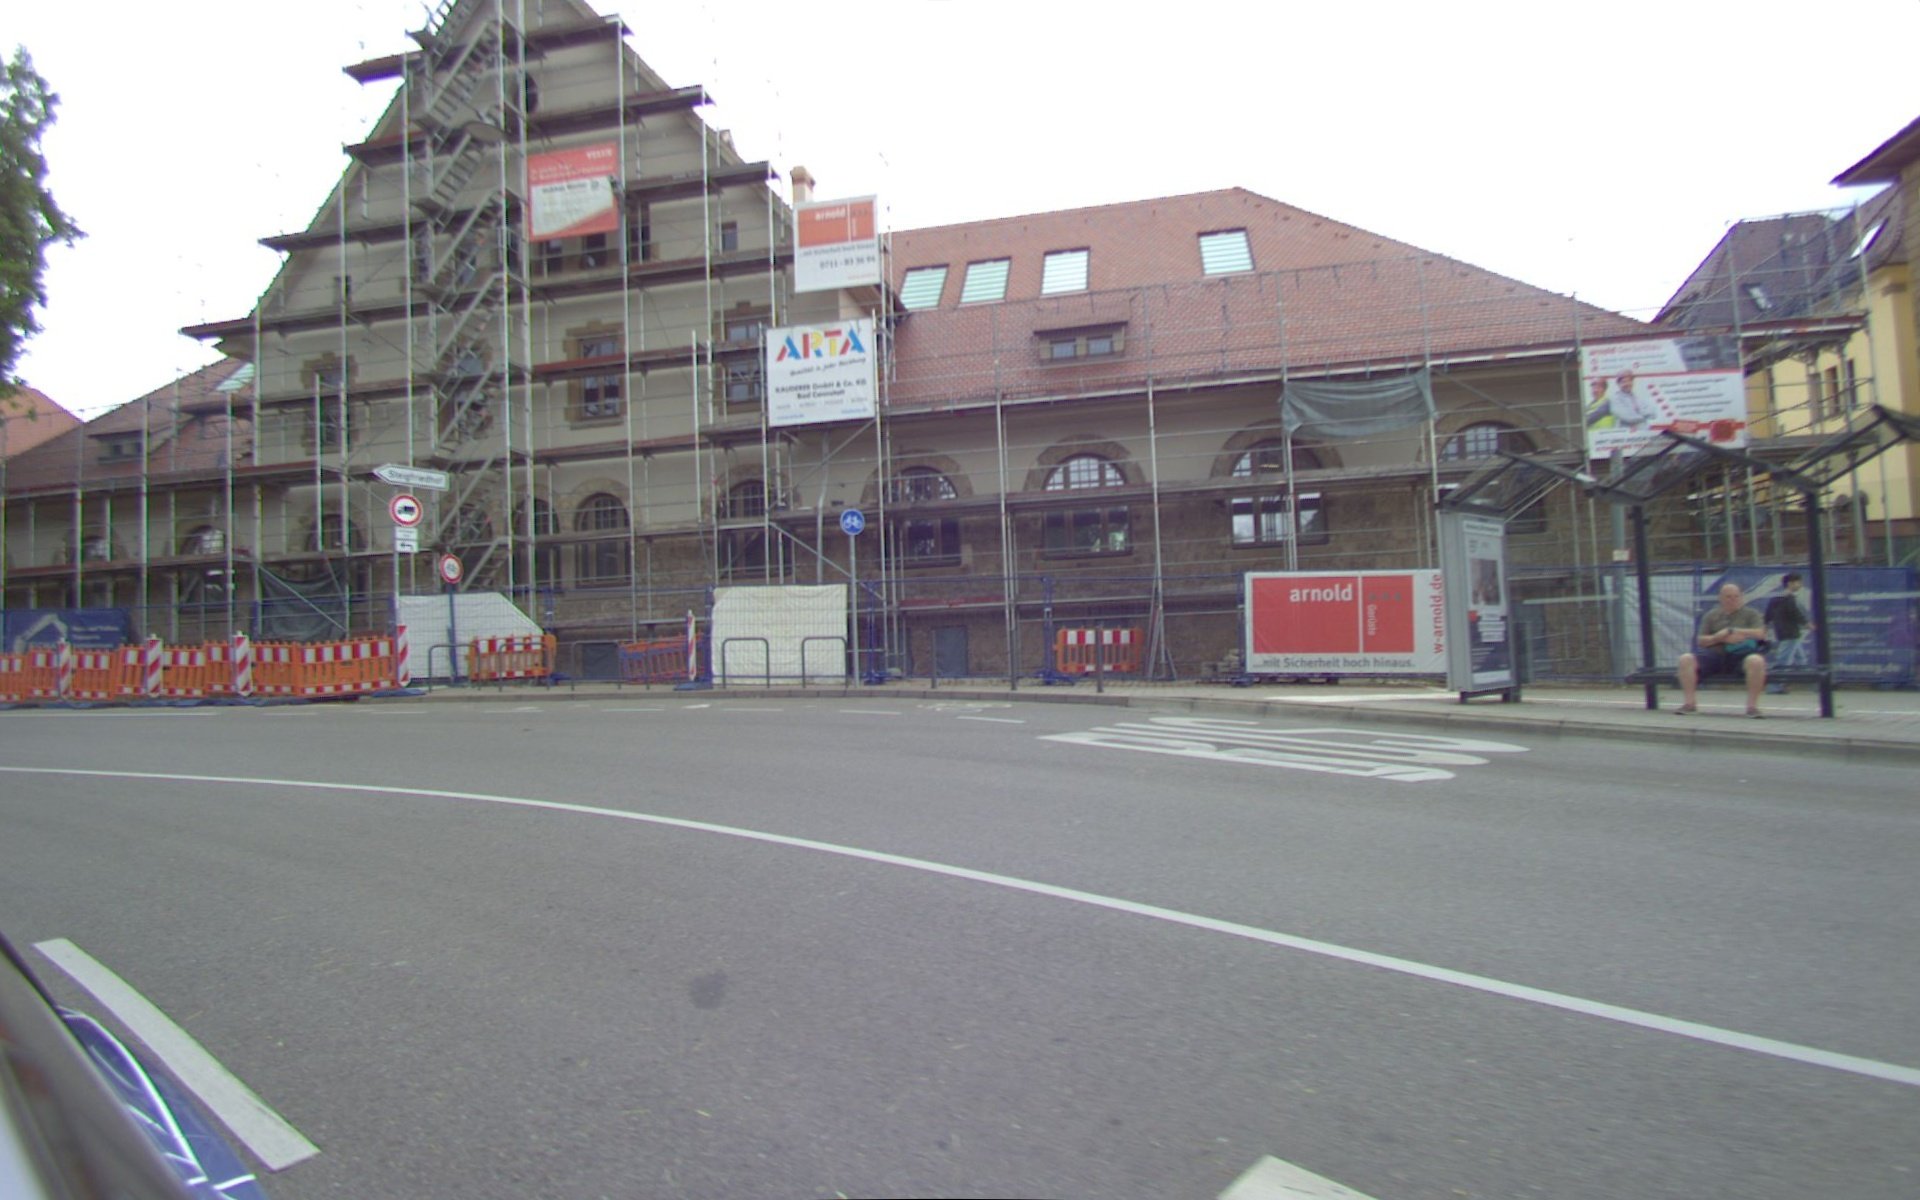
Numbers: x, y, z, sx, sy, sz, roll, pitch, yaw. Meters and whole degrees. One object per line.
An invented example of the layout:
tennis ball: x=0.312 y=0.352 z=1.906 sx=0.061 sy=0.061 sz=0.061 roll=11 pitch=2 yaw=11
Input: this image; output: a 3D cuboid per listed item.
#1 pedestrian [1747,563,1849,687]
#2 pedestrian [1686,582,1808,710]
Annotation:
pedestrian: x=12.193 y=0.362 z=14.763 sx=0.791 sy=1.733 sz=0.921 roll=-1 pitch=-1 yaw=15
pedestrian: x=7.891 y=0.455 z=10.144 sx=0.905 sy=1.201 sz=0.923 roll=-1 pitch=-3 yaw=41
